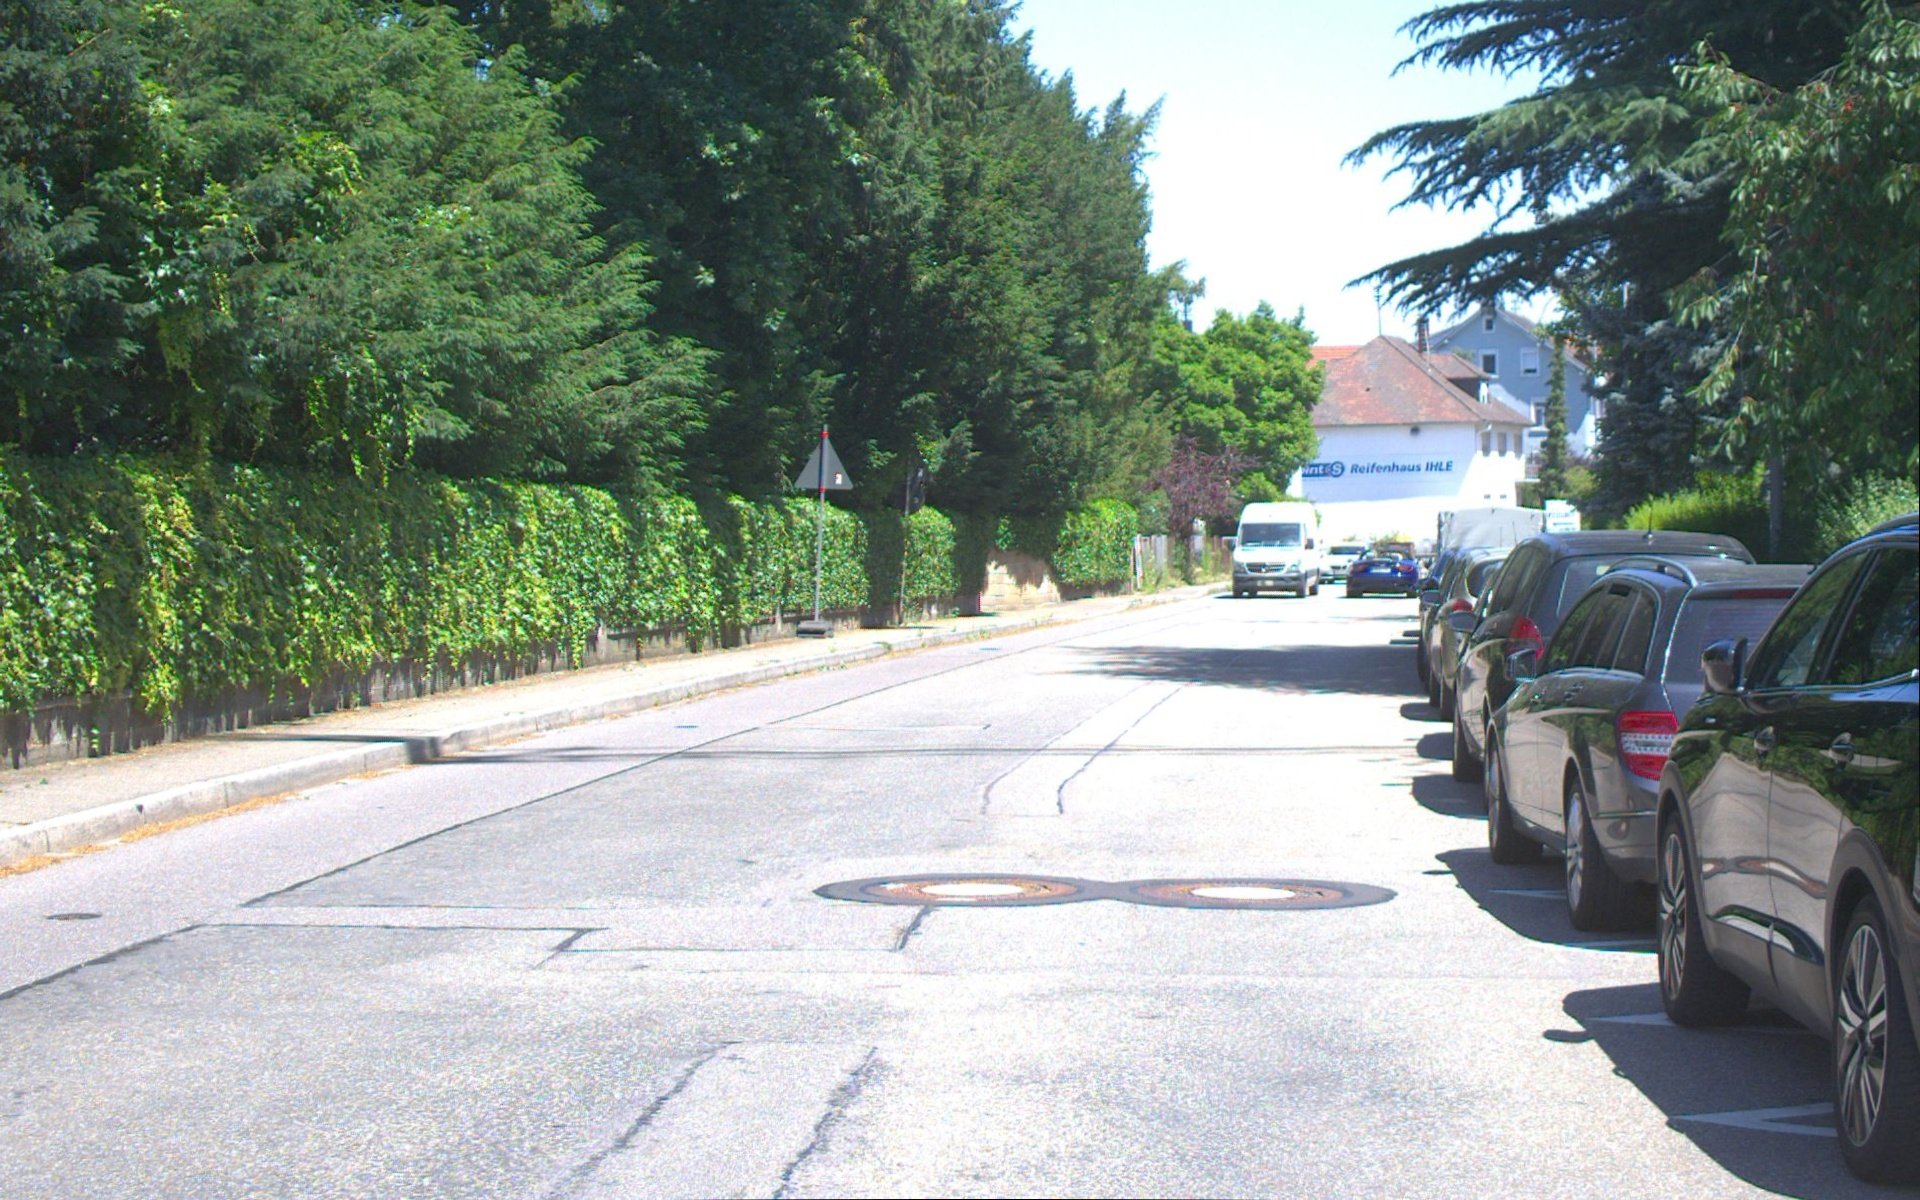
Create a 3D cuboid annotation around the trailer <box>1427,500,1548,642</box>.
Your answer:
[{"bbox_3d":[7.969,-0.480,52.163,1.680,2.061,3.707,1,2,7],"label":"trailer"}]

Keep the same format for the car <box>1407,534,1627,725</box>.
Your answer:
[{"bbox_3d":[4.865,0.218,30.436,1.615,1.507,4.063,3,1,6],"label":"car"}]

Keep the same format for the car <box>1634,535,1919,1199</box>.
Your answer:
[{"bbox_3d":[2.937,0.610,9.279,1.662,1.533,4.203,1,1,4],"label":"car"}]

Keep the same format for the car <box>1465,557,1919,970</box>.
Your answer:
[{"bbox_3d":[3.206,0.569,14.574,1.662,1.427,4.204,0,2,2],"label":"car"}]

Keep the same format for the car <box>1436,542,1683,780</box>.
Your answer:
[{"bbox_3d":[4.328,0.376,25.230,1.582,1.438,4.007,3,3,8],"label":"car"}]

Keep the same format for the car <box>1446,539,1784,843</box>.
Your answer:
[{"bbox_3d":[3.761,0.448,20.280,1.582,1.570,4.007,0,2,5],"label":"car"}]

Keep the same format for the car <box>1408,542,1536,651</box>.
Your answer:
[{"bbox_3d":[6.893,-0.074,46.404,1.615,1.391,4.257,1,1,8],"label":"car"}]

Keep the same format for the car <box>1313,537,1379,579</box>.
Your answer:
[{"bbox_3d":[13.377,-1.472,118.969,1.865,1.379,4.602,0,2,11],"label":"car"}]

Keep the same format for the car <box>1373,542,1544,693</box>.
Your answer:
[{"bbox_3d":[5.075,0.143,35.301,1.615,1.446,4.373,-1,1,7],"label":"car"}]

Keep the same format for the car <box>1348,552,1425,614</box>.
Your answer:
[{"bbox_3d":[11.494,-0.481,92.418,1.795,1.505,3.999,2,2,10],"label":"car"}]

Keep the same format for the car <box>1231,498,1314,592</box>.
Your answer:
[{"bbox_3d":[8.674,-1.529,95.099,1.994,2.524,5.892,0,1,8],"label":"car"}]
